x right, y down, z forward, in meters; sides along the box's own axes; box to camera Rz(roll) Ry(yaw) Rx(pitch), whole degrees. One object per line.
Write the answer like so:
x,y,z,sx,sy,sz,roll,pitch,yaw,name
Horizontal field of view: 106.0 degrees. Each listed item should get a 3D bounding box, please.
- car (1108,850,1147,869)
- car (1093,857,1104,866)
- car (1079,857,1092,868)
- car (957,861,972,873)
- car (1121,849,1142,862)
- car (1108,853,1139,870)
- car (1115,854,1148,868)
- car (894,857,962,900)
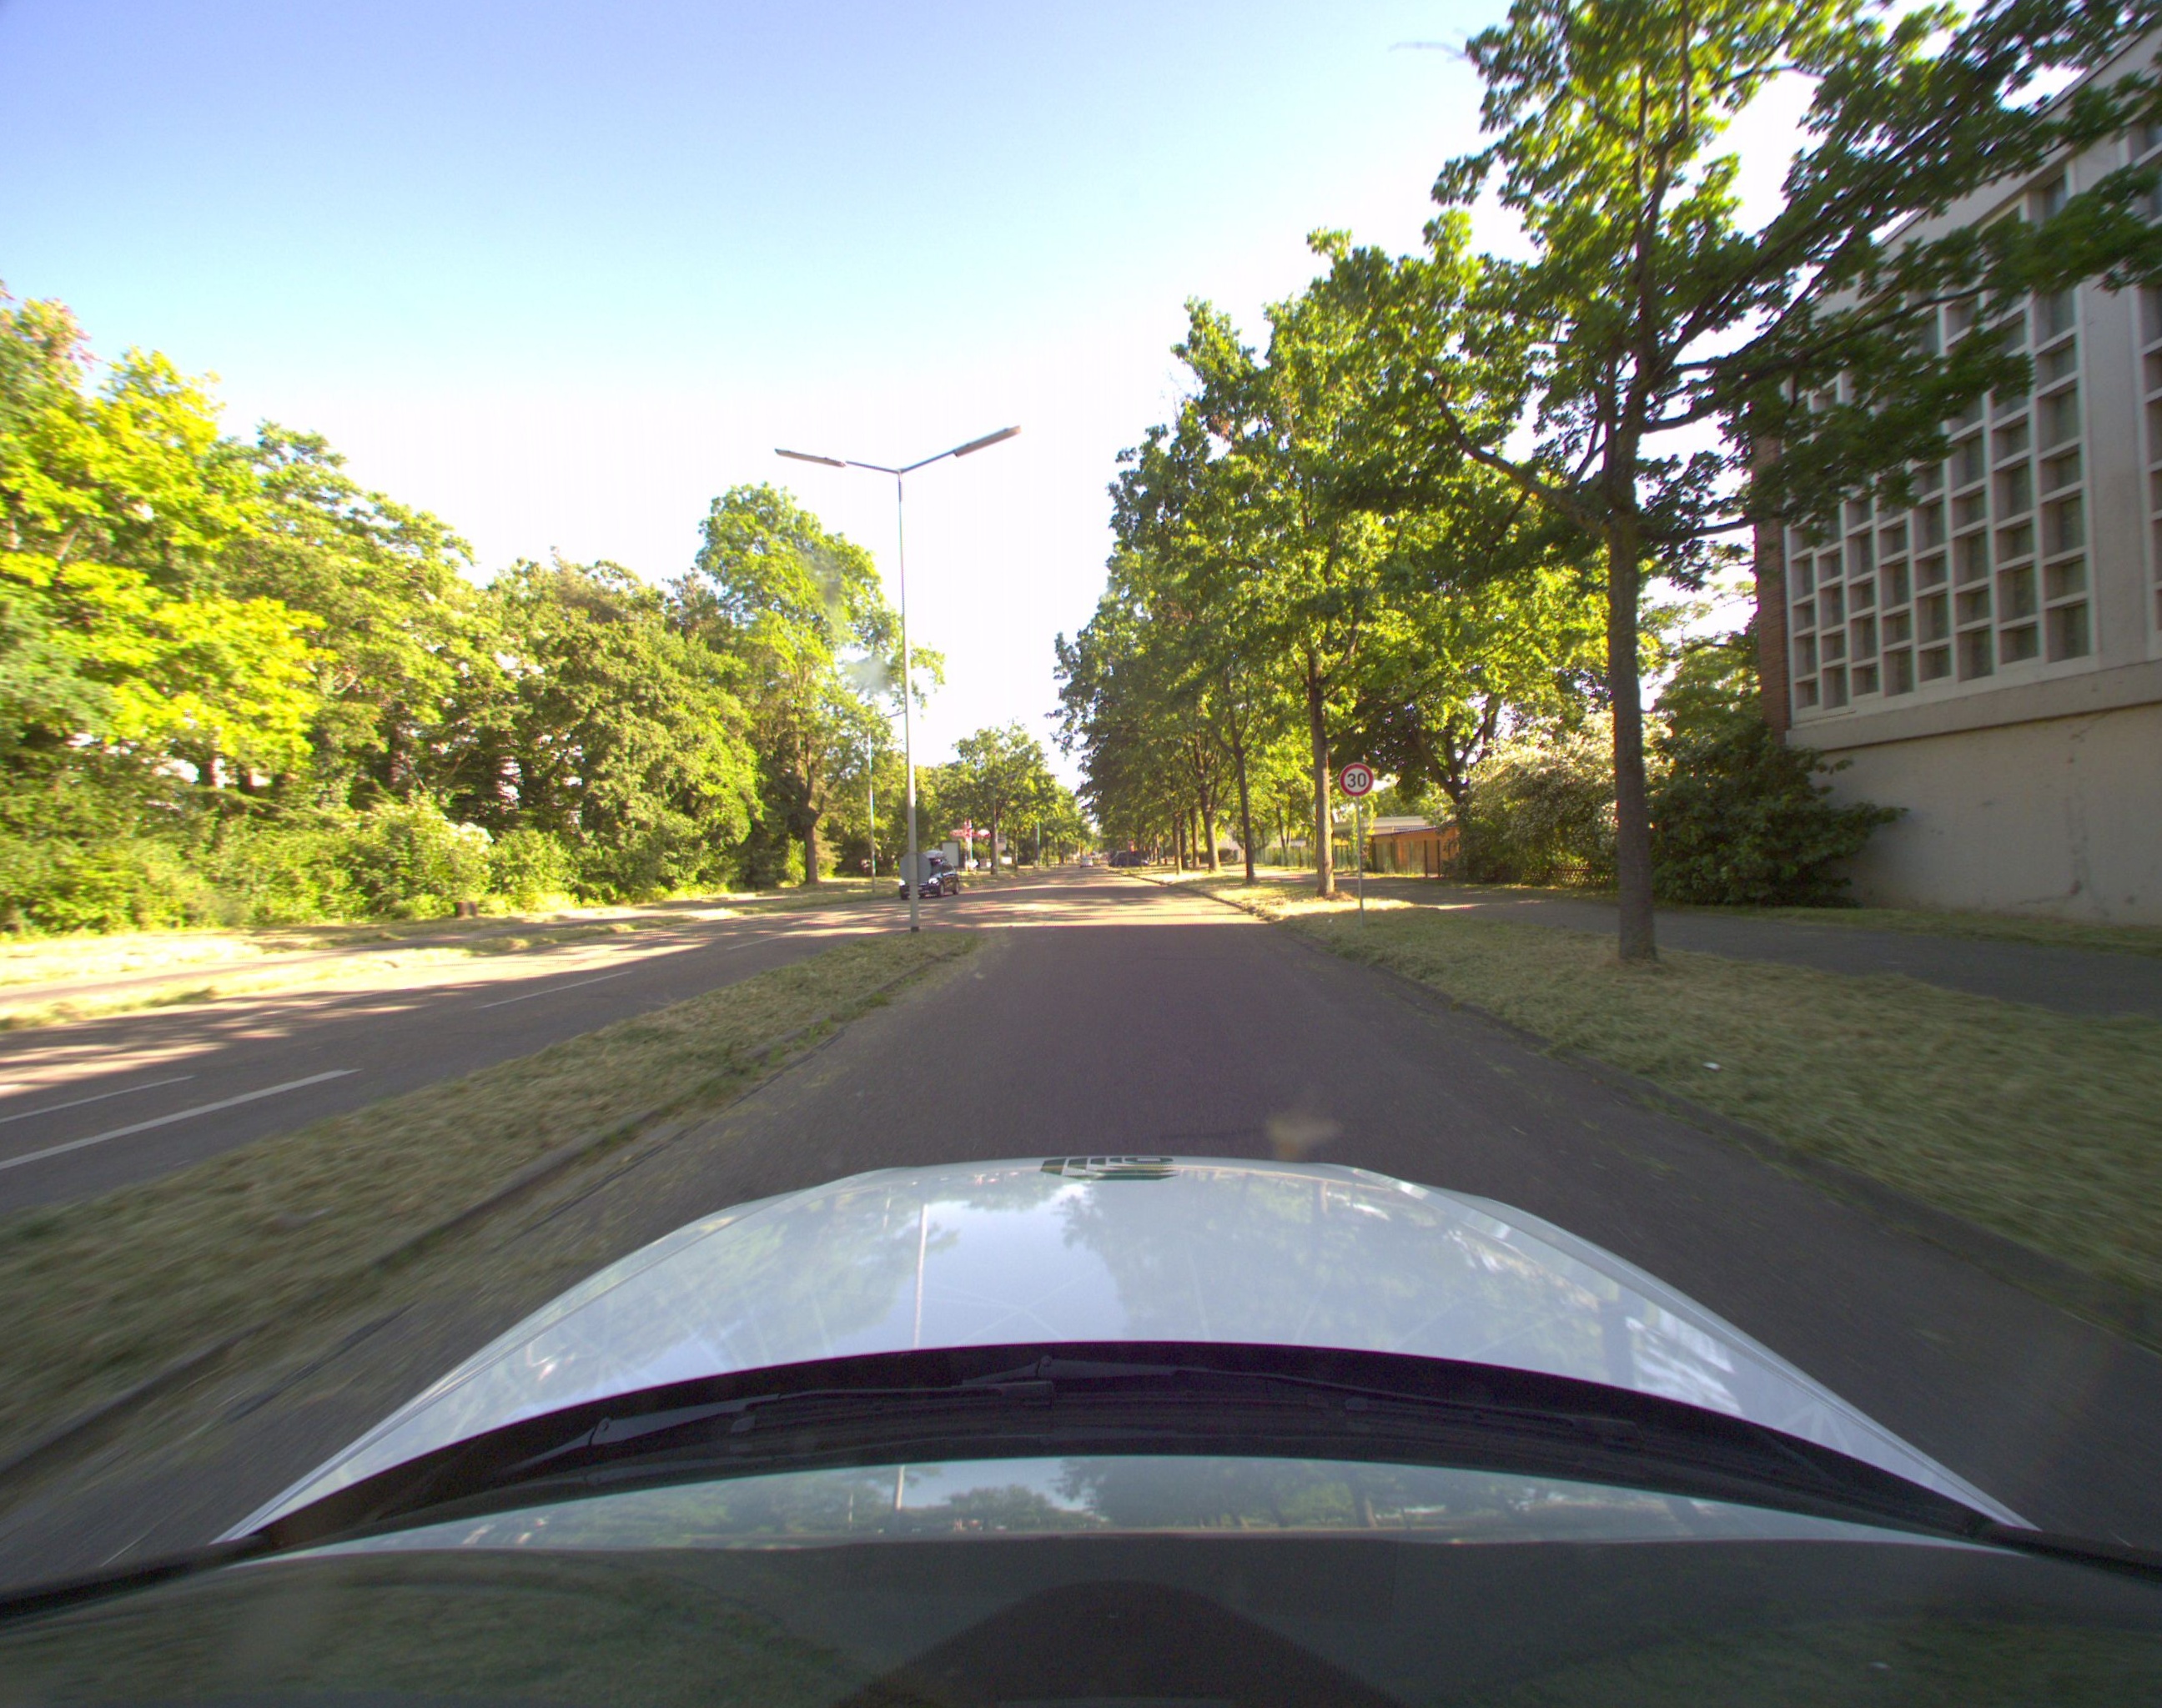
5.417,0.612,95.097,4.487,1.953,1.687,-3,-2,0,car
2.918,1.172,134.404,1.655,1.337,3.664,-3,-2,0,car
0.661,1.093,109.063,1.655,1.337,3.664,-3,-2,0,car
-18.612,2.100,130.393,1.796,1.823,3.803,-3,-2,-1,car
8.837,0.263,144.014,3.555,2.051,1.632,-3,-4,0,car
5.061,0.928,97.581,3.641,1.797,1.317,-3,-2,0,car
5.707,0.773,92.112,3.641,1.398,1.317,-3,-2,0,car
-6.805,1.052,36.740,1.831,1.708,4.509,-3,0,4,car
